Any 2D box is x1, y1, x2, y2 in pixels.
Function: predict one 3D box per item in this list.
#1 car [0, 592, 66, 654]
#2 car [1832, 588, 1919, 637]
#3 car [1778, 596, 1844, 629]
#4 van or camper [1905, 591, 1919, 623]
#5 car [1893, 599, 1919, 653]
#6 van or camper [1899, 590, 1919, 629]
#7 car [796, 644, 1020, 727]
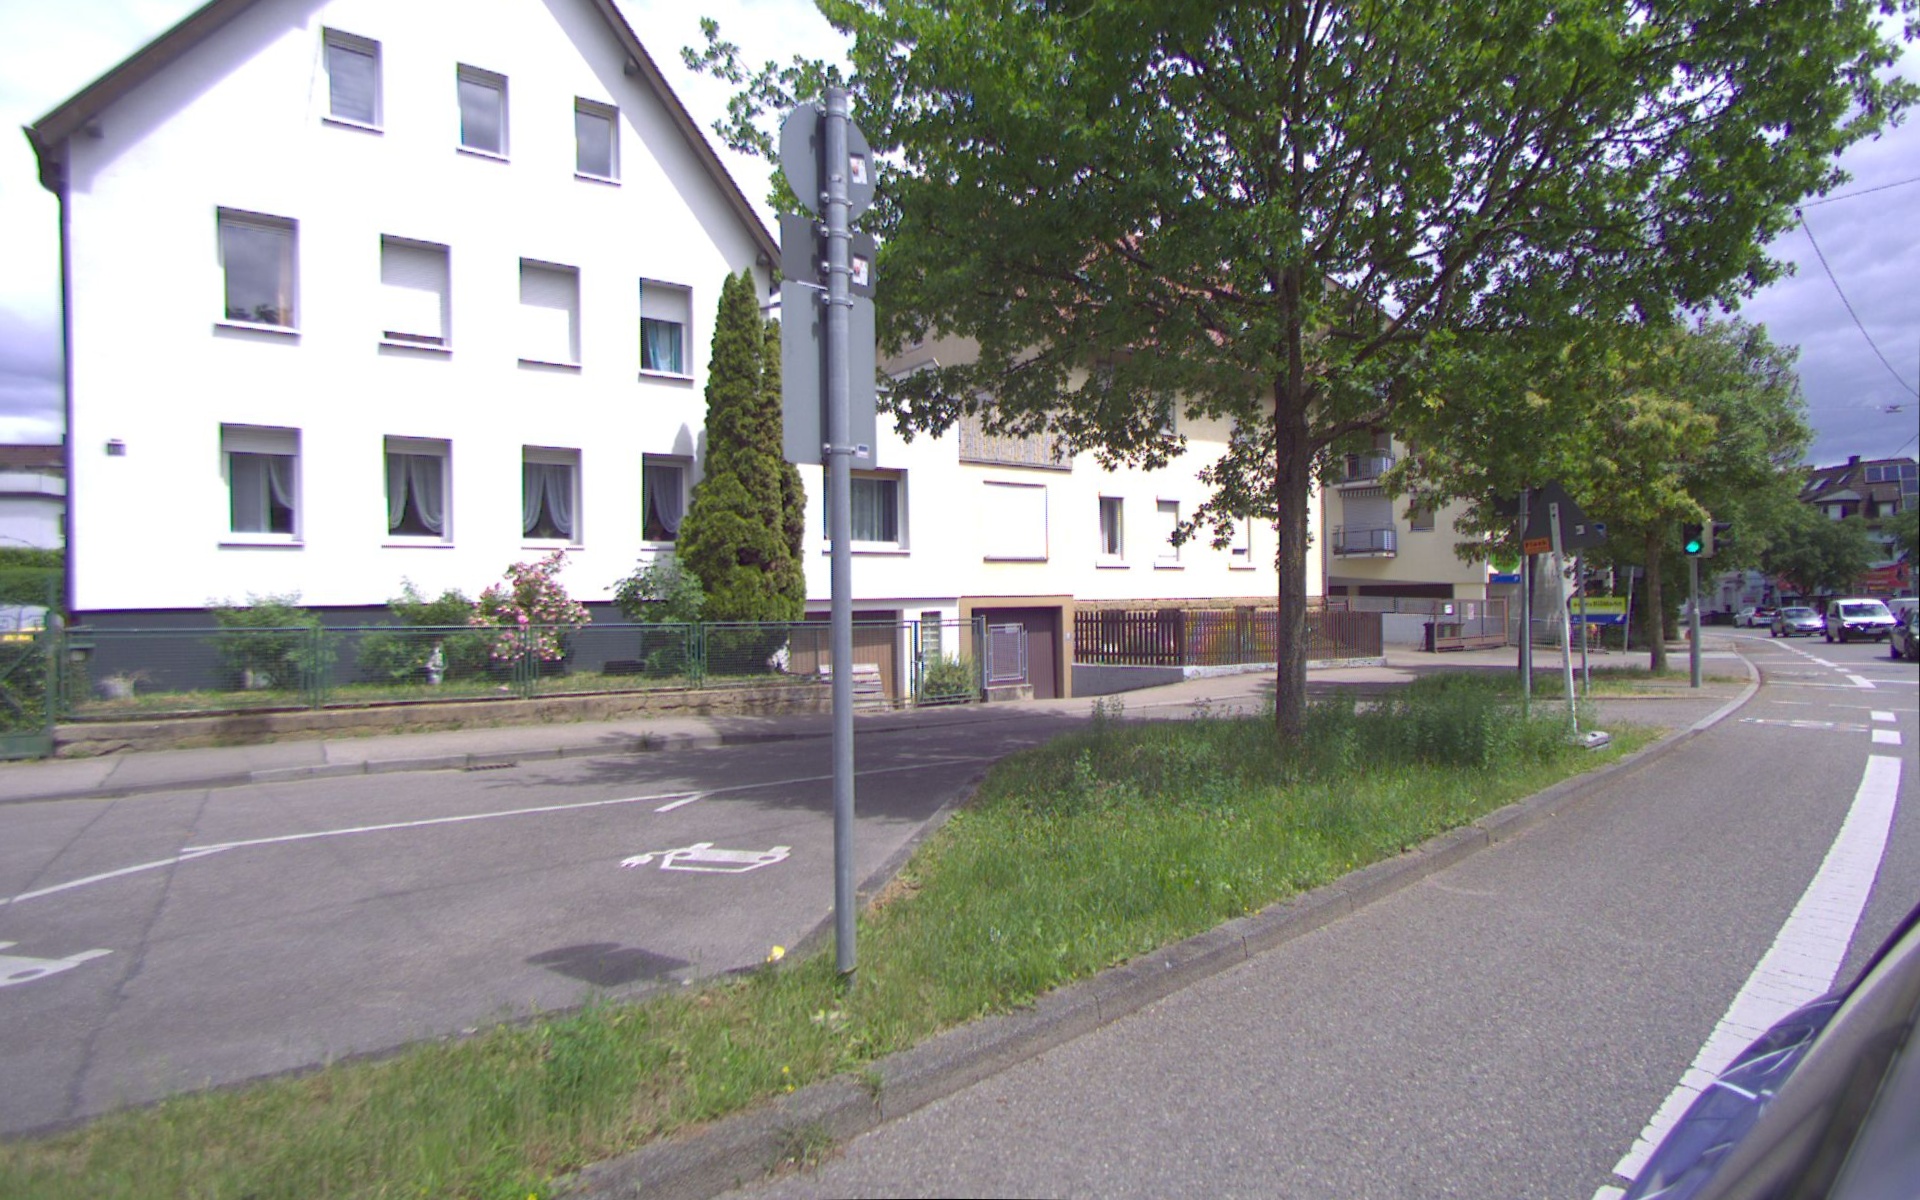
[{"bbox_3d":[-22.517,0.516,23.571,1.962,1.349,4.001,-2,1,-33],"label":"car"},{"bbox_3d":[37.343,0.485,41.354,1.838,1.839,3.956,-4,-2,31],"label":"car"},{"bbox_3d":[43.260,0.603,51.530,1.679,1.505,3.960,-4,-2,28],"label":"car"},{"bbox_3d":[66.964,0.425,69.994,1.784,2.116,3.762,-4,-2,36],"label":"van or camper"},{"bbox_3d":[26.894,0.714,27.424,1.829,1.408,3.949,0,-1,35],"label":"car"},{"bbox_3d":[46.072,0.449,47.836,1.855,1.799,4.324,-1,-1,36],"label":"van or camper"},{"bbox_3d":[-0.896,1.486,18.293,3.798,1.139,1.466,-2,-2,-34],"label":"car"}]
